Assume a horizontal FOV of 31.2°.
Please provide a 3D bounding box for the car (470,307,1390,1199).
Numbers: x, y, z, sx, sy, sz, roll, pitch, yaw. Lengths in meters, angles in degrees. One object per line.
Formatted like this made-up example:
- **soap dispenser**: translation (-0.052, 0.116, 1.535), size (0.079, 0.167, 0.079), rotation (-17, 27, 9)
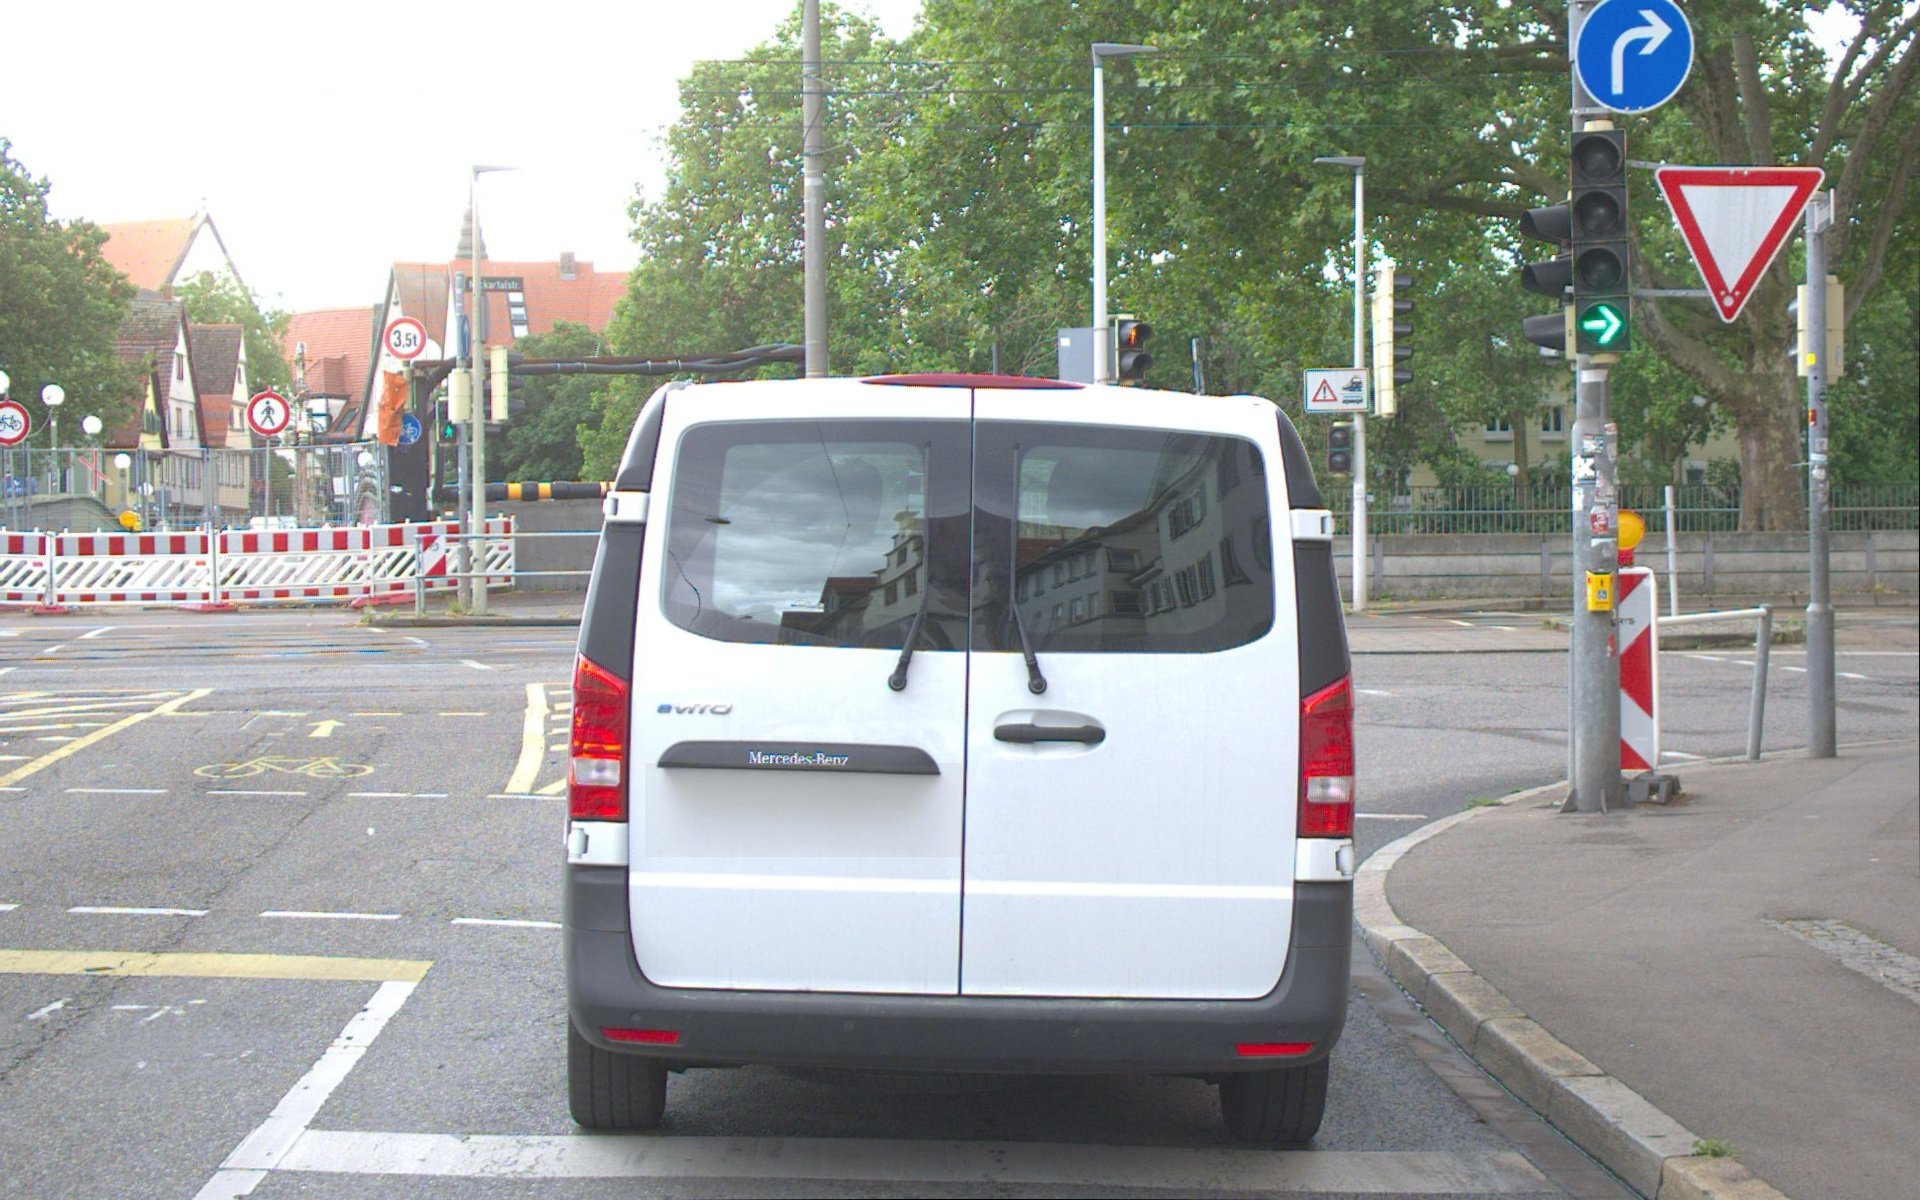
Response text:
- **car**: translation (-0.080, 0.308, 9.740), size (1.951, 2.006, 4.698), rotation (1, 2, 0)
